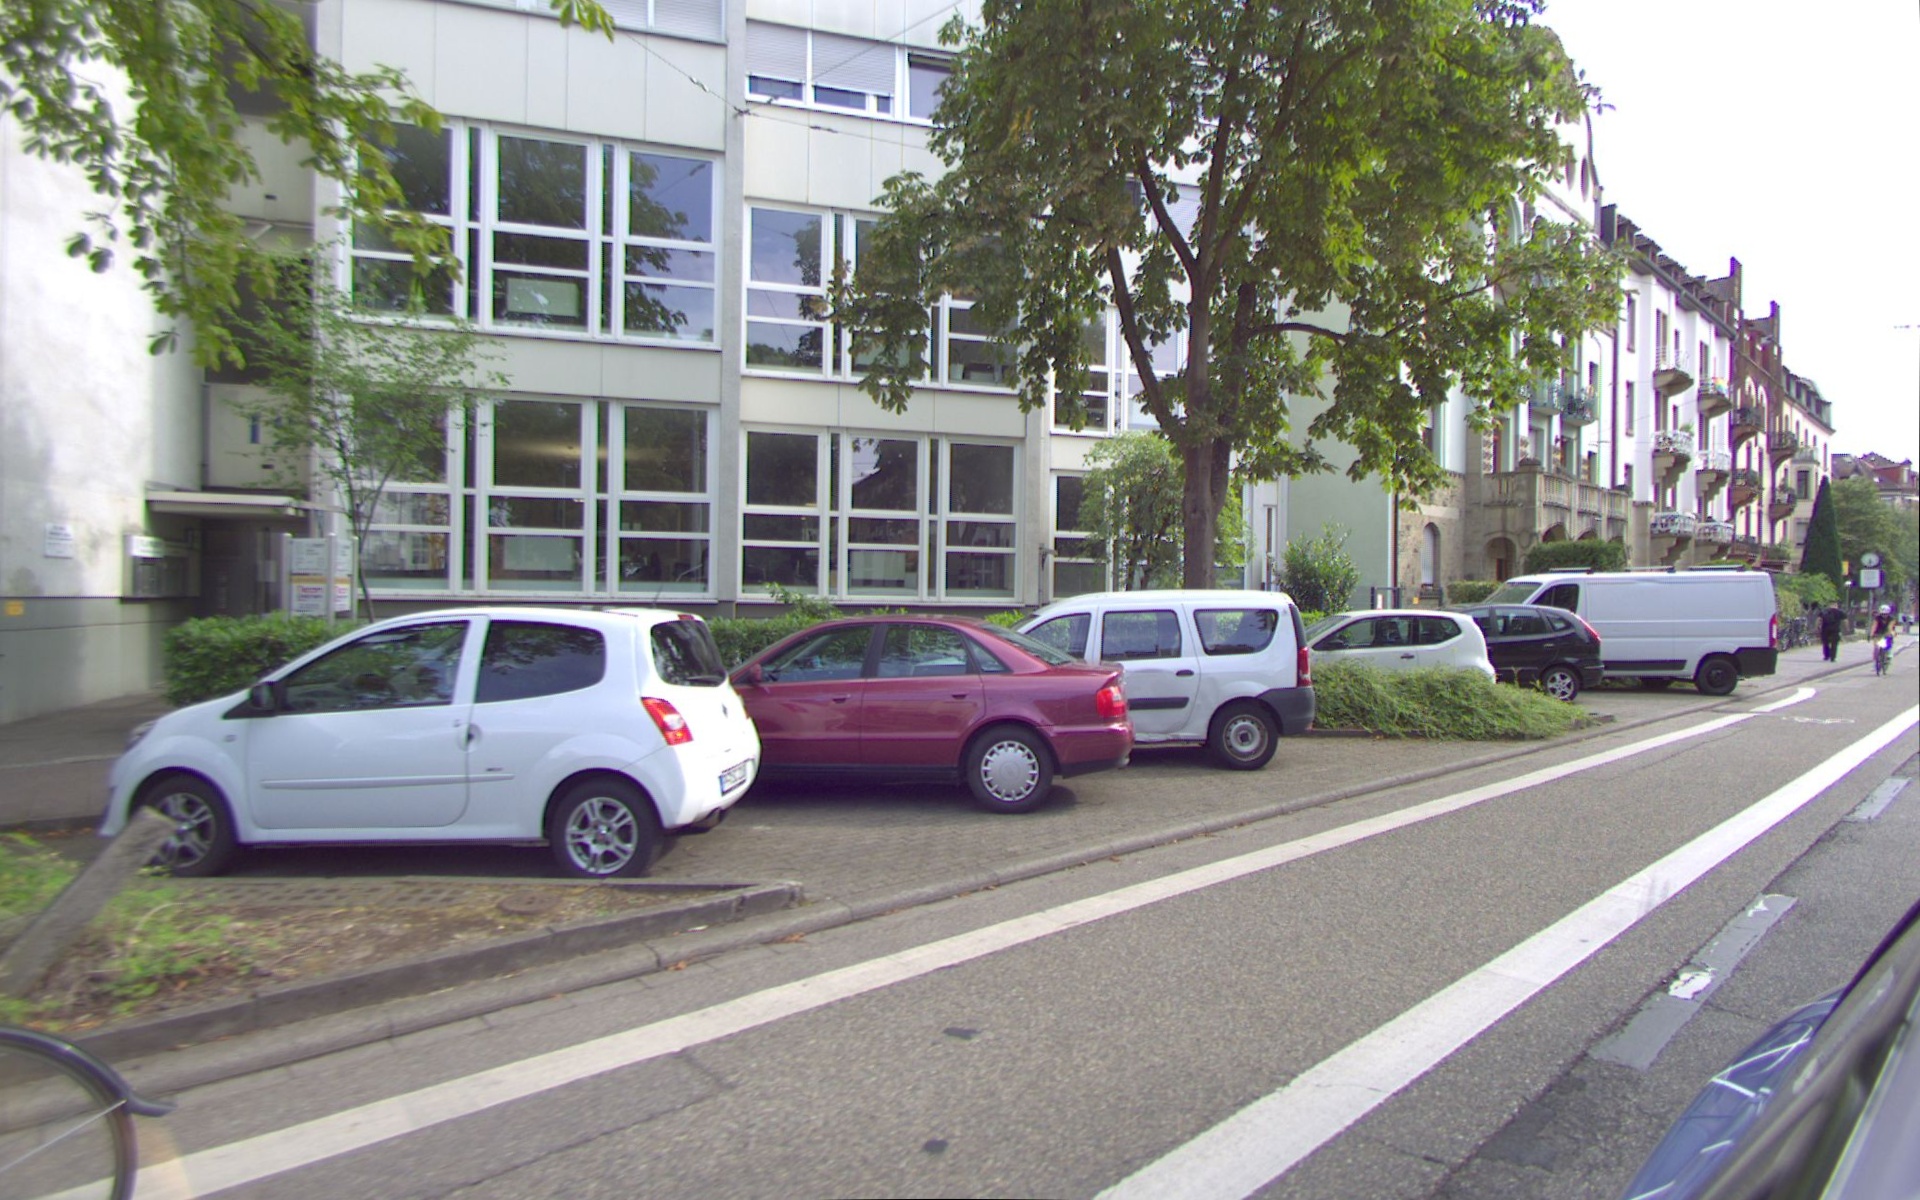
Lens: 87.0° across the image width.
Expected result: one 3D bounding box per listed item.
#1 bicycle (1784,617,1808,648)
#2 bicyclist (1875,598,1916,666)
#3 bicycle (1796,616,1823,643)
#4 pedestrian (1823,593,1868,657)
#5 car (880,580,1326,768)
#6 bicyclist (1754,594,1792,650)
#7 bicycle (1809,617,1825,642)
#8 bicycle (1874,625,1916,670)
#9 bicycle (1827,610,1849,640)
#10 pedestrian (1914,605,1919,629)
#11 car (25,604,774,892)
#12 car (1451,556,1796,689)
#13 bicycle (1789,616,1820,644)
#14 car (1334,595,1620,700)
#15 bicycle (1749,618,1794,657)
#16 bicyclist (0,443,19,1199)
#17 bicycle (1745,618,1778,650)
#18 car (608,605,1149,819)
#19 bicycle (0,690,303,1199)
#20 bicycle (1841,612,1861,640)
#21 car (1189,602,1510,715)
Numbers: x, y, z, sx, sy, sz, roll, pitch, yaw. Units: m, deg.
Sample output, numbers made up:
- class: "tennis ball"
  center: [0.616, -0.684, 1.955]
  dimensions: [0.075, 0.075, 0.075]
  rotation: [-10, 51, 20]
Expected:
- class: "bicycle"
  center: [27.568, 1.056, 33.385]
  dimensions: [0.484, 0.918, 1.643]
  rotation: [2, 1, 37]
- class: "bicyclist"
  center: [22.538, 0.758, 24.372]
  dimensions: [1.092, 1.590, 0.639]
  rotation: [1, 0, -44]
- class: "bicycle"
  center: [30.172, 1.040, 35.929]
  dimensions: [1.636, 0.918, 0.486]
  rotation: [0, 1, -42]
- class: "pedestrian"
  center: [25.071, 0.690, 28.660]
  dimensions: [0.880, 1.754, 0.786]
  rotation: [1, 2, -42]
- class: "car"
  center: [1.319, 0.660, 10.071]
  dimensions: [4.034, 1.689, 1.688]
  rotation: [0, 0, 4]
- class: "bicyclist"
  center: [22.174, 0.591, 27.607]
  dimensions: [0.787, 1.488, 0.648]
  rotation: [1, 2, -44]
- class: "bicycle"
  center: [31.468, 1.081, 37.152]
  dimensions: [1.177, 0.863, 0.278]
  rotation: [0, 1, -42]
- class: "bicycle"
  center: [22.511, 1.126, 24.356]
  dimensions: [2.037, 0.993, 0.639]
  rotation: [1, 1, -44]
- class: "bicycle"
  center: [34.587, 0.984, 39.880]
  dimensions: [1.887, 1.156, 0.392]
  rotation: [1, 1, -42]
- class: "pedestrian"
  center: [69.970, 1.248, 73.591]
  dimensions: [0.720, 1.680, 0.747]
  rotation: [6, 4, 44]
- class: "car"
  center: [-3.124, 0.754, 6.122]
  dimensions: [3.649, 1.451, 1.688]
  rotation: [0, 0, 4]
- class: "car"
  center: [12.344, 0.390, 19.210]
  dimensions: [4.872, 2.319, 2.381]
  rotation: [0, 0, 6]
- class: "bicycle"
  center: [28.934, 1.023, 34.679]
  dimensions: [1.635, 0.918, 0.487]
  rotation: [0, 1, -39]
- class: "car"
  center: [8.536, 0.748, 16.976]
  dimensions: [3.889, 1.669, 1.688]
  rotation: [0, 0, 4]
- class: "bicycle"
  center: [22.103, 0.995, 27.562]
  dimensions: [2.003, 0.974, 0.689]
  rotation: [1, 2, -44]
- class: "bicyclist"
  center: [-2.324, 0.461, 1.629]
  dimensions: [1.158, 1.482, 0.658]
  rotation: [1, -1, -43]
- class: "bicycle"
  center: [24.235, 1.023, 30.584]
  dimensions: [1.634, 0.918, 0.387]
  rotation: [0, 1, -38]
- class: "car"
  center: [-0.557, 0.777, 8.036]
  dimensions: [3.907, 1.451, 1.686]
  rotation: [0, 0, 7]
- class: "bicycle"
  center: [-2.351, 0.854, 1.622]
  dimensions: [2.089, 1.265, 0.658]
  rotation: [1, -1, -43]
- class: "bicycle"
  center: [36.632, 1.042, 41.593]
  dimensions: [1.729, 1.116, 0.392]
  rotation: [1, 1, -42]
- class: "car"
  center: [5.518, 0.792, 14.753]
  dimensions: [4.018, 1.530, 1.688]
  rotation: [0, 0, 4]
